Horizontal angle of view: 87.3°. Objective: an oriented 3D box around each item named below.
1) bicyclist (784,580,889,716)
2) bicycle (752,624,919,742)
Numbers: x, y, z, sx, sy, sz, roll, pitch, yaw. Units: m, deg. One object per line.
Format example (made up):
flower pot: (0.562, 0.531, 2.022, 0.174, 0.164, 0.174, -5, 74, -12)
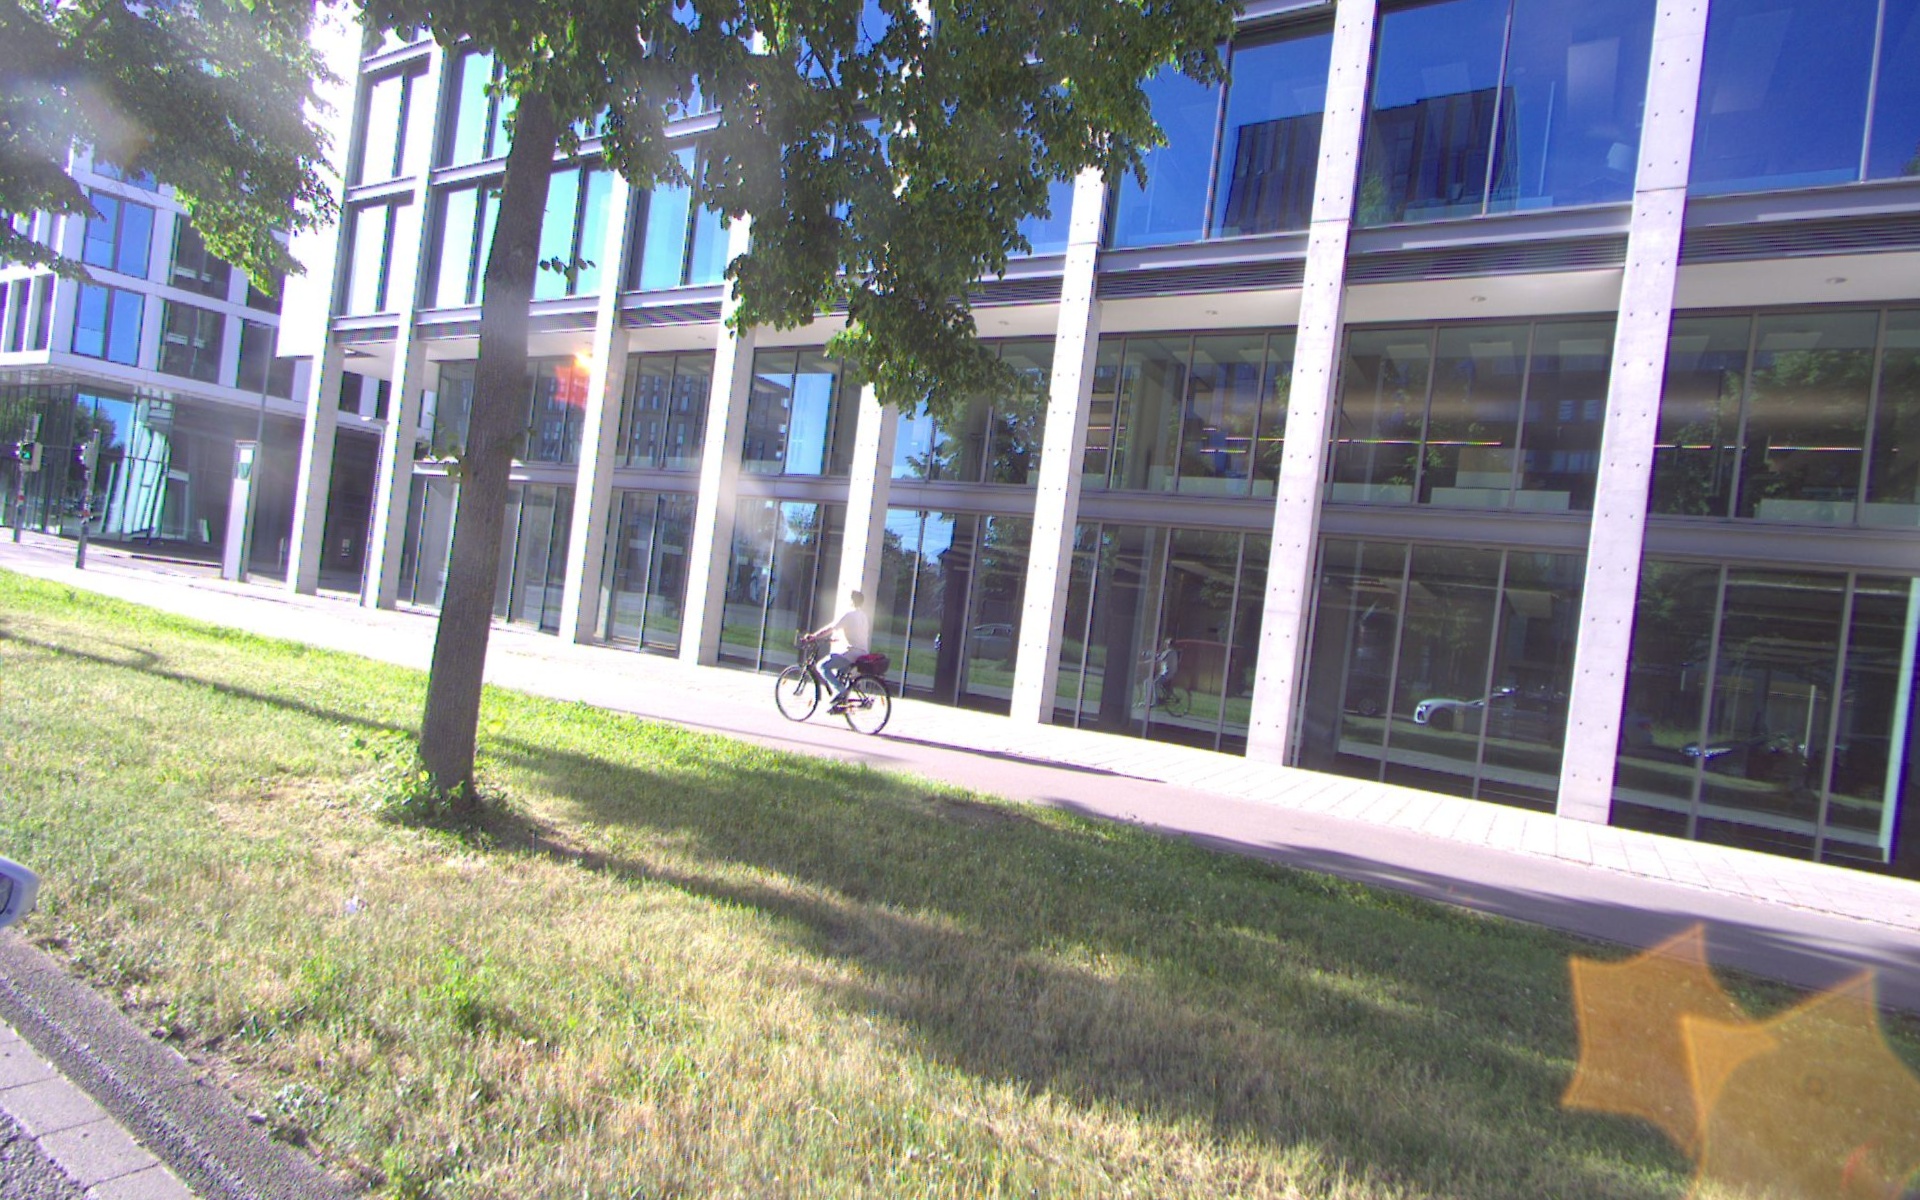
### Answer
bicyclist: (-1.529, 0.598, 12.512, 0.835, 1.550, 0.772, 7, 0, 31)
bicycle: (-1.566, 0.999, 12.513, 1.929, 1.189, 0.742, 6, 1, 32)
